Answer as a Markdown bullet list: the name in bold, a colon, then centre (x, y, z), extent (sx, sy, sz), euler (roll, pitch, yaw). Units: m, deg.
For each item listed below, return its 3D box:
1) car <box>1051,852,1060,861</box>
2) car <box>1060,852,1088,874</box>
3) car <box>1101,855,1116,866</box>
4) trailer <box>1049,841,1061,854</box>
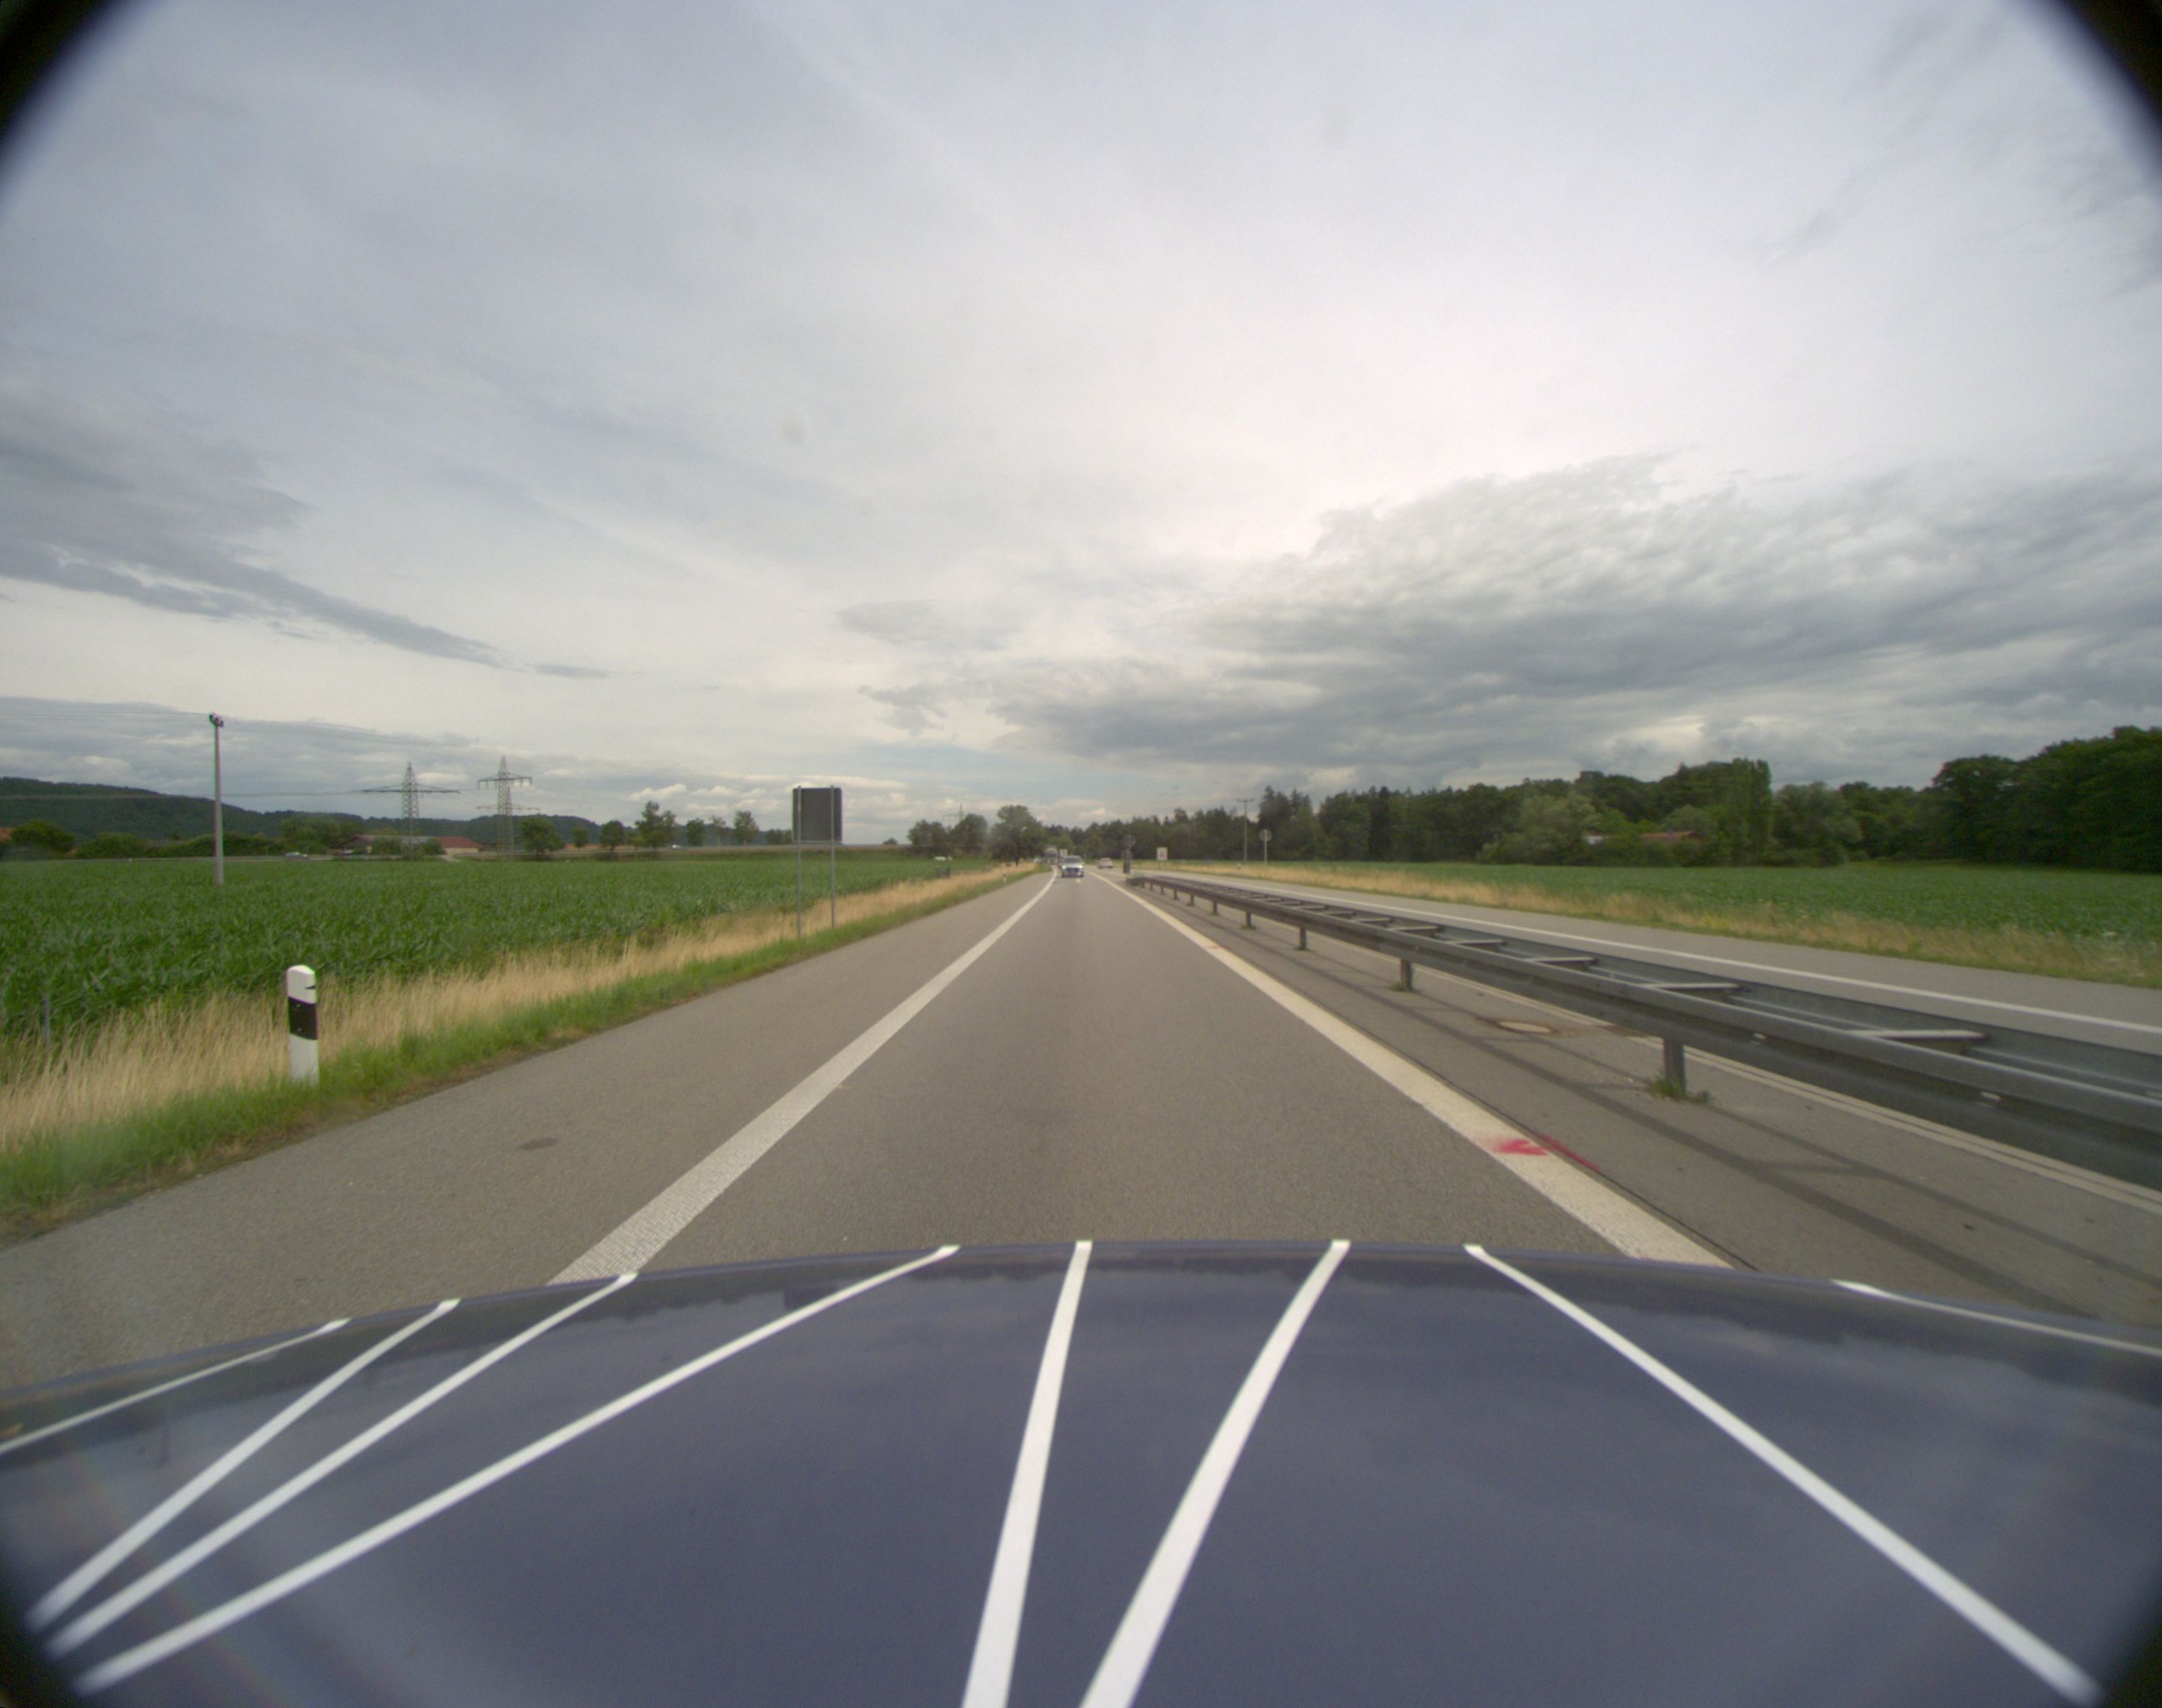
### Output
- **car**: centre (-6.312, 0.658, 190.065), extent (1.998, 2.002, 4.000), euler (-2, 1, 2)
- **car**: centre (-0.640, 0.768, 67.604), extent (1.924, 1.823, 3.997), euler (-2, 1, -7)
- **car**: centre (4.031, 0.941, 112.276), extent (1.822, 1.623, 4.600), euler (-2, 1, -3)
- **trailer**: centre (-8.556, -2.180, 246.618), extent (2.497, 3.972, 13.067), euler (-1, 0, -7)
